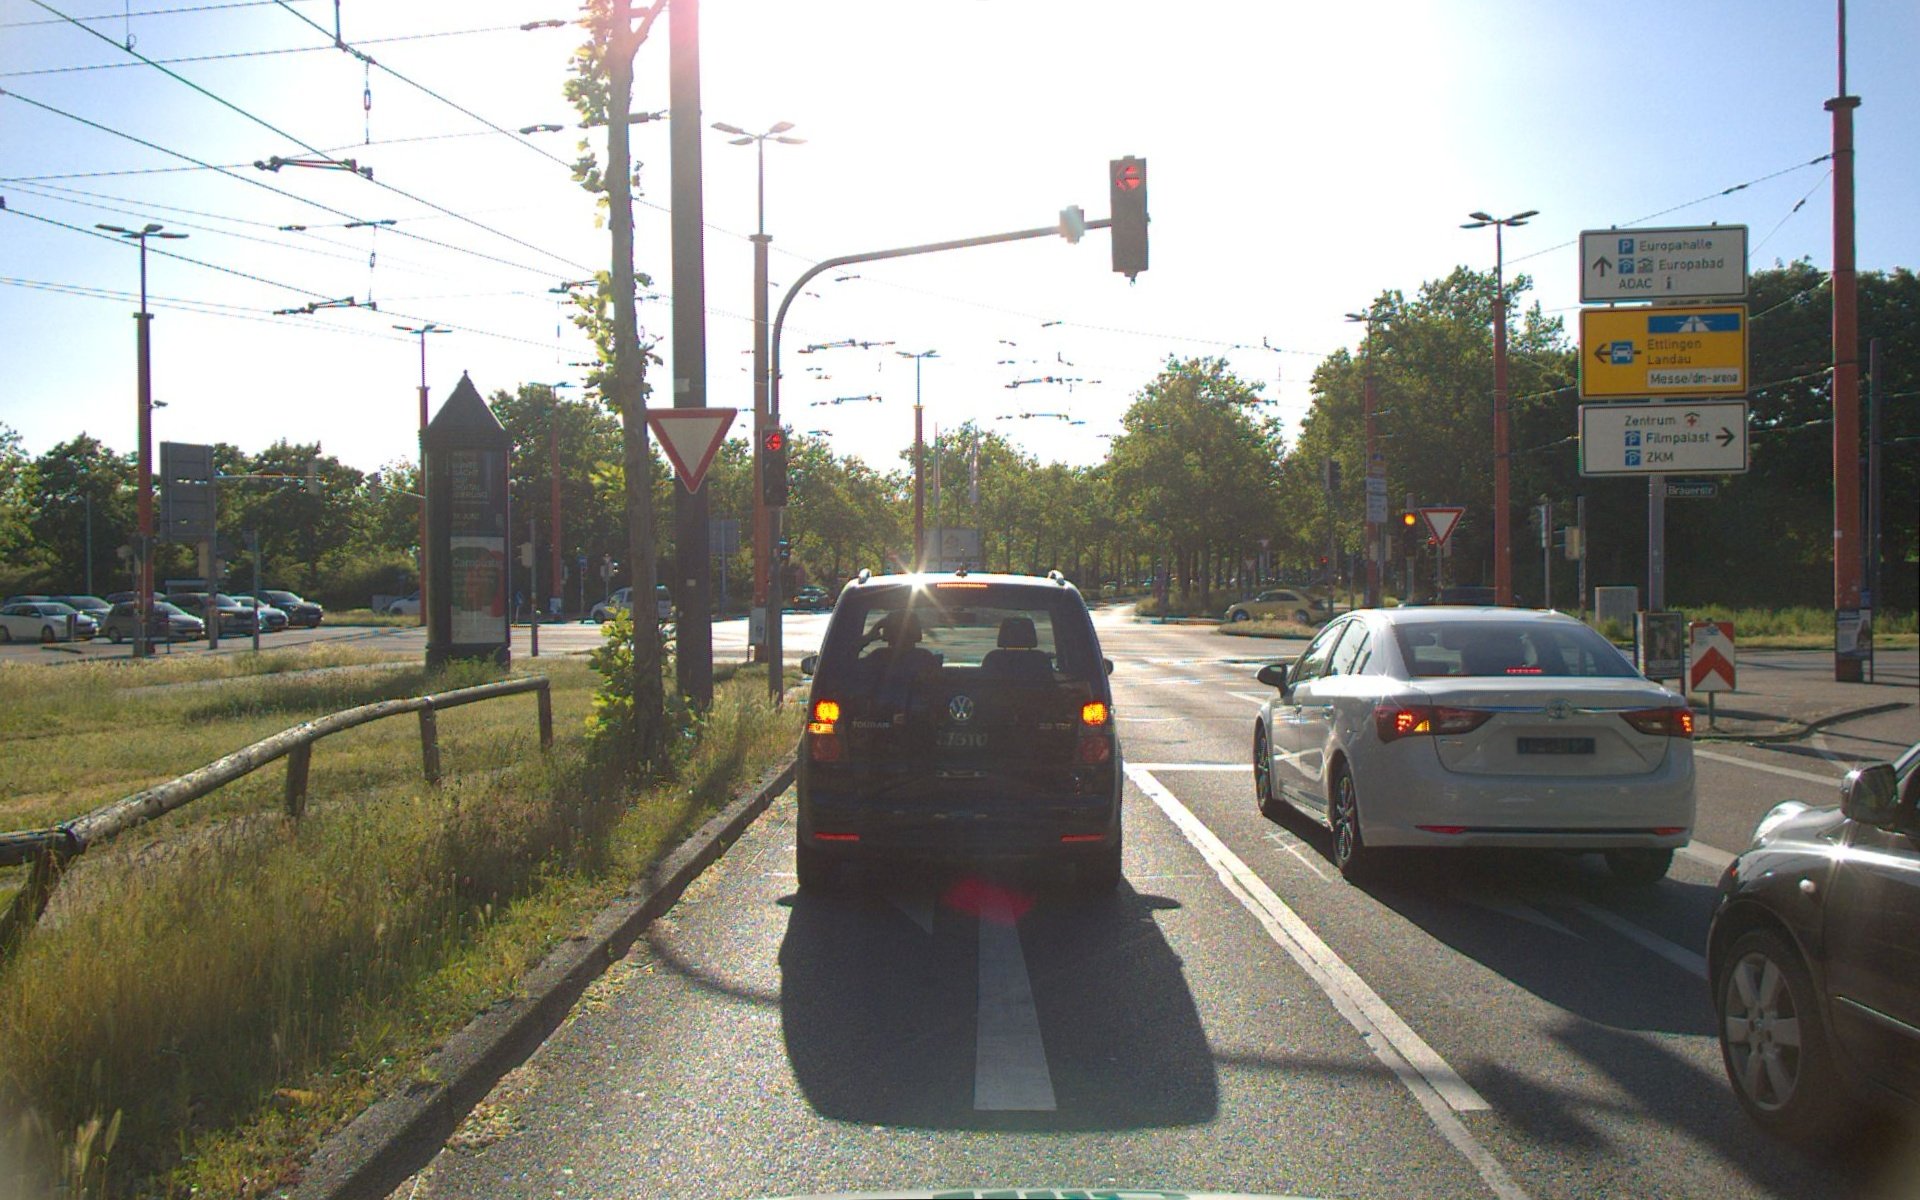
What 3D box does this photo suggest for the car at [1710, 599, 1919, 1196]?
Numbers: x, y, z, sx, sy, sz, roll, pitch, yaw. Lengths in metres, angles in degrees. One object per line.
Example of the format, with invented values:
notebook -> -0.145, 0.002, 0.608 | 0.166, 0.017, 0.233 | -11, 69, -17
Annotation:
car -> 3.140, 0.740, 3.484 | 1.544, 1.465, 3.441 | 1, 0, 0

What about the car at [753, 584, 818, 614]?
car -> -10.763, -0.065, 102.242 | 1.625, 1.780, 4.114 | 0, 0, 38

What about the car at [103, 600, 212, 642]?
car -> -29.147, 0.733, 60.086 | 3.755, 1.466, 1.655 | 0, 0, 27

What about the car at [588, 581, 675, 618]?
car -> -16.287, -0.023, 82.007 | 4.035, 1.780, 1.656 | 0, 0, 23

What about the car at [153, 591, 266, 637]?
car -> -29.088, 0.517, 64.042 | 4.541, 1.676, 1.654 | 0, 0, 30

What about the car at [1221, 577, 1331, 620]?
car -> 12.906, -0.061, 67.559 | 4.120, 1.710, 1.655 | 0, 0, 26

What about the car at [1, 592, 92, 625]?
car -> -40.873, 0.367, 73.987 | 4.060, 1.440, 1.542 | 0, 0, 26

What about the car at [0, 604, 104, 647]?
car -> -34.861, 0.969, 63.201 | 4.536, 1.546, 1.654 | 0, 0, 30

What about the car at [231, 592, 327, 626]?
car -> -29.470, 0.370, 71.542 | 4.060, 1.440, 1.542 | 0, 0, 26

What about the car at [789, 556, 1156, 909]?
car -> 0.071, 0.633, 9.958 | 1.703, 1.630, 4.326 | 1, 0, 0

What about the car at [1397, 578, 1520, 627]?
car -> 18.001, 0.068, 59.712 | 4.118, 1.710, 1.656 | 0, 0, 23

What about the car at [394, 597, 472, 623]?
car -> -30.292, 0.547, 95.091 | 4.031, 1.427, 1.658 | 0, 0, 14

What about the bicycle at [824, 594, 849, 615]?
bicycle -> -8.474, 0.299, 113.706 | 0.955, 1.413, 2.982 | 0, 0, 12

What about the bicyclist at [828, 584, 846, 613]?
bicyclist -> -8.466, -0.114, 113.747 | 0.955, 1.937, 1.051 | 0, 0, 12

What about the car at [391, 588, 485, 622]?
car -> -26.087, 0.232, 82.636 | 4.568, 1.654, 1.655 | 0, 0, 26

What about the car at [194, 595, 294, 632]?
car -> -29.406, 0.530, 67.919 | 4.060, 1.440, 1.542 | 0, 0, 26

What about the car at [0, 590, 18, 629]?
car -> -42.986, 0.383, 71.627 | 4.541, 1.676, 1.753 | 0, 0, 30

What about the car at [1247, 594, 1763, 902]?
car -> 3.018, 0.726, 10.180 | 1.762, 1.465, 4.326 | 1, 0, 0
